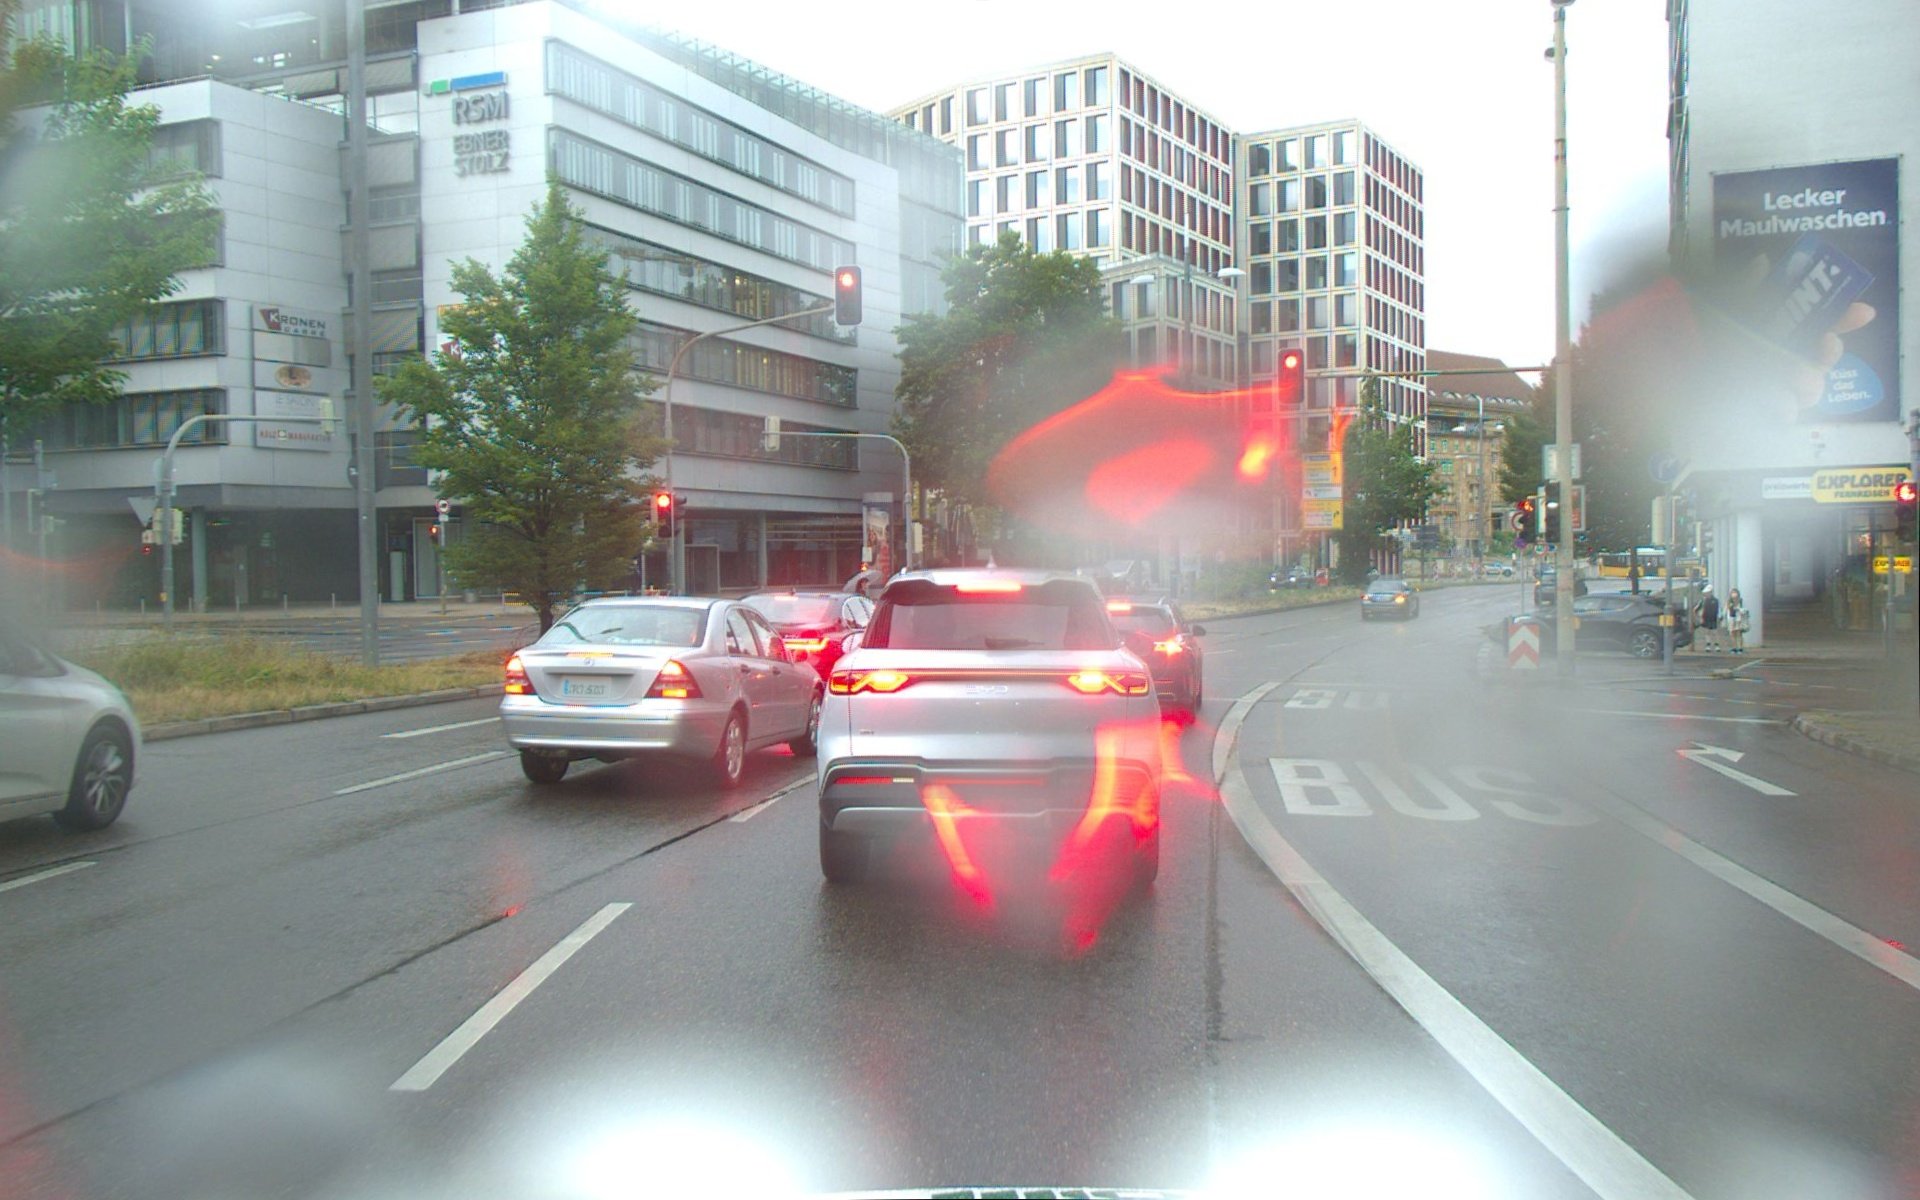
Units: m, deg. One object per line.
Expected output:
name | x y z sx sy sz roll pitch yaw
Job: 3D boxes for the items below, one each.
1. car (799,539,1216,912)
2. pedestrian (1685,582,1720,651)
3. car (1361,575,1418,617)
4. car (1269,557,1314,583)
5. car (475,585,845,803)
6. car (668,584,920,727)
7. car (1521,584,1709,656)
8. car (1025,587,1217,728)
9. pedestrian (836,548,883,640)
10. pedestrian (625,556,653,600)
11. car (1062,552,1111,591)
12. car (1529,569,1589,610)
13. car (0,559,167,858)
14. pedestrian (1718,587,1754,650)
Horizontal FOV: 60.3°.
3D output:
car | 0.155 0.557 9.990 1.953 1.739 4.481 0 1 -2
pedestrian | 18.685 0.412 41.645 0.712 1.698 0.691 0 -1 17
car | 16.511 -0.176 63.482 1.870 1.536 4.359 1 1 17
car | 23.632 -2.173 117.826 1.956 1.735 3.993 1 3 30
car | -2.279 0.637 13.757 1.646 1.512 4.200 0 1 10
car | -1.896 0.583 20.196 1.913 1.556 4.004 0 1 12
car | 15.762 0.441 39.825 3.915 1.579 1.995 2 1 32
car | 2.109 0.626 20.601 1.913 1.556 4.004 0 1 12
pedestrian | -1.954 -0.119 32.283 0.903 1.768 0.729 0 0 -4
pedestrian | -12.860 -0.873 66.263 0.712 1.757 0.924 0 0 23
car | 7.307 -1.620 95.075 1.701 2.199 4.495 1 1 19
car | 28.008 -0.491 77.267 2.008 1.796 4.350 2 1 28
car | -6.005 0.584 8.646 1.747 1.601 4.286 0 1 -2
pedestrian | 19.241 0.452 41.012 0.712 1.551 0.760 0 -1 17
